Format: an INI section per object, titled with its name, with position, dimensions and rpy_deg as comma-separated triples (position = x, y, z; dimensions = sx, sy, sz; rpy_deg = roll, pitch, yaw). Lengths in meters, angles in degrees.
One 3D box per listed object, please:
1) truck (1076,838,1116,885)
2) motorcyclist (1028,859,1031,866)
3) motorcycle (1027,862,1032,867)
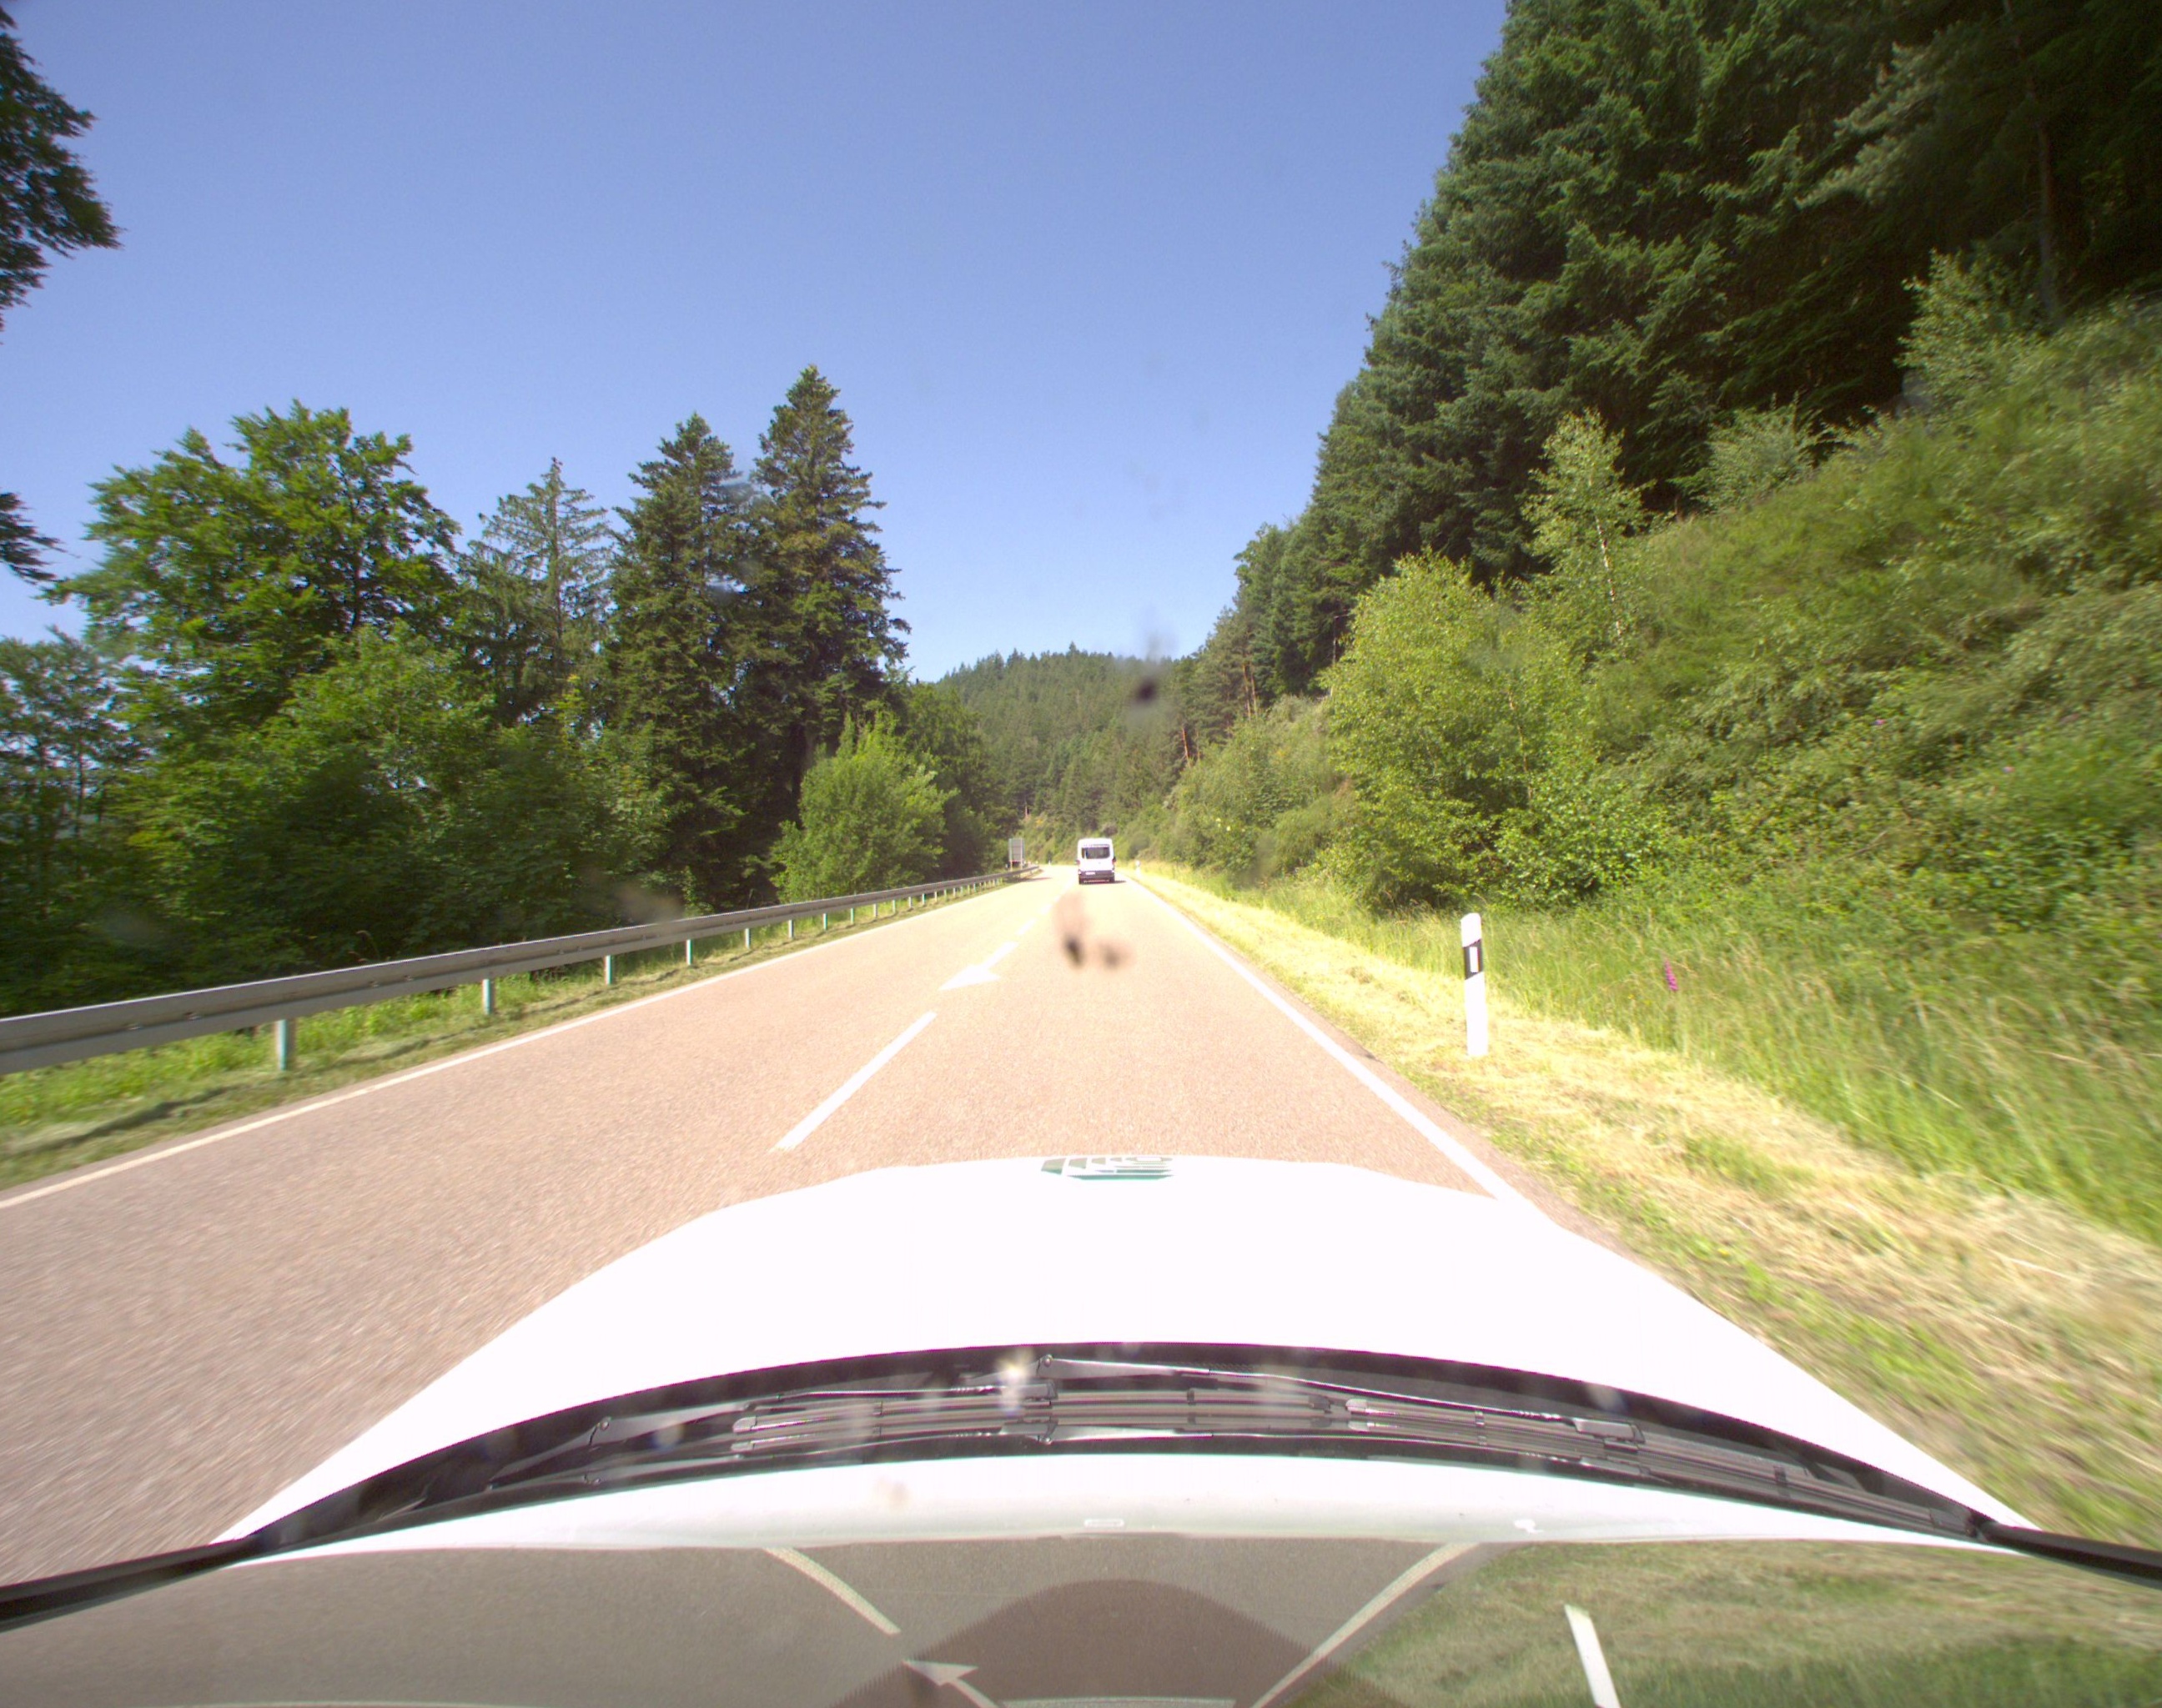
[truck]
position = 0.890, 0.406, 46.147
dimensions = 2.075, 2.460, 4.877
rpy_deg = -2, -1, 2
[motorcyclist]
position = -11.543, 1.912, 183.090
dimensions = 0.656, 1.513, 0.933
rpy_deg = -3, 0, -1
[motorcycle]
position = -11.552, 2.329, 183.164
dimensions = 0.982, 1.071, 1.962
rpy_deg = -3, 0, -1
